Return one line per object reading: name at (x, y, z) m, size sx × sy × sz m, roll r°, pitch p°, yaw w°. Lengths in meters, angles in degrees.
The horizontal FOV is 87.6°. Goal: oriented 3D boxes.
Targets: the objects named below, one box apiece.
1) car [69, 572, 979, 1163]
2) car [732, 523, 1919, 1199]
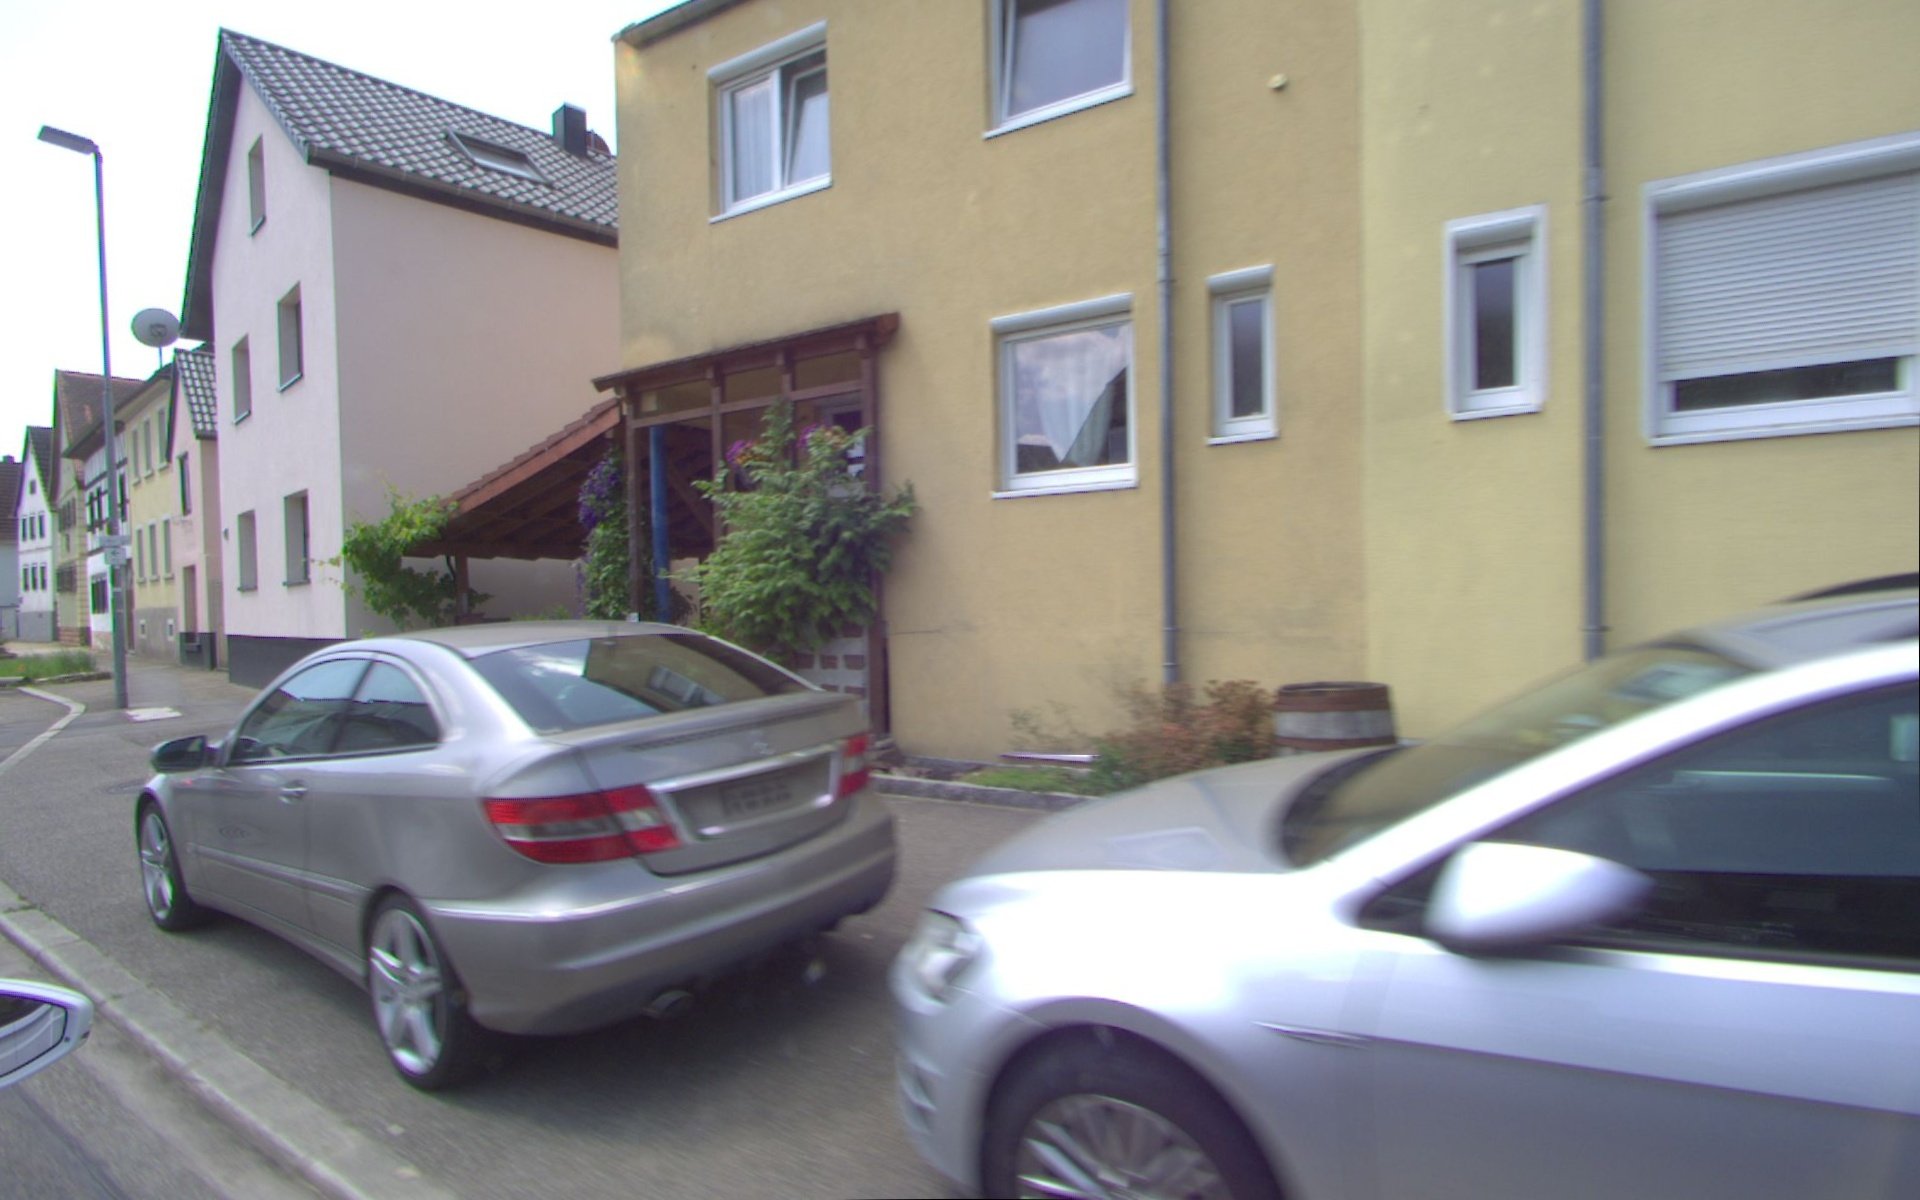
car at (-2.221, 0.725, 4.487) m, size 4.369 × 1.419 × 1.763 m, roll -3°, pitch 1°, yaw 37°
car at (1.800, 0.636, 1.999) m, size 4.273 × 1.551 × 1.880 m, roll -1°, pitch 2°, yaw 32°
